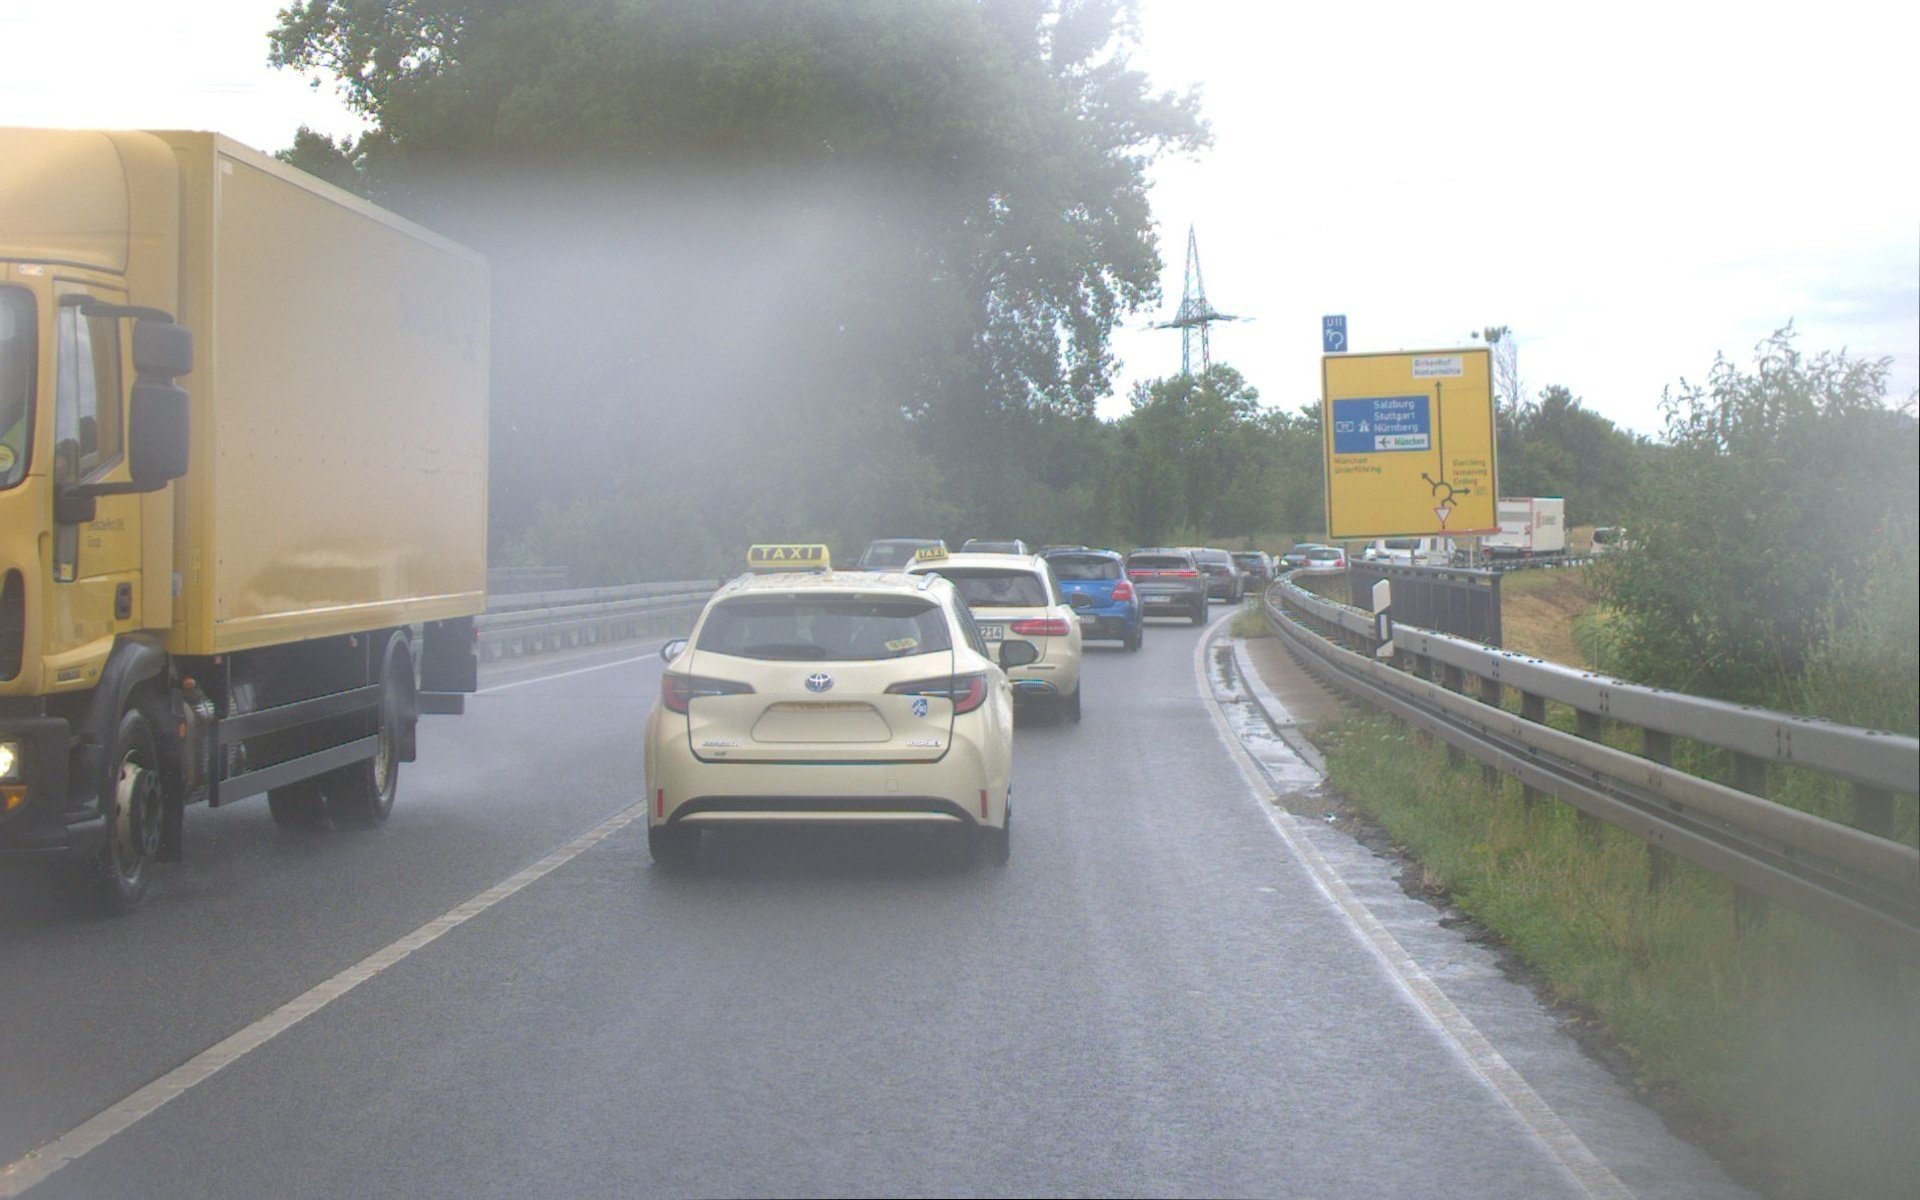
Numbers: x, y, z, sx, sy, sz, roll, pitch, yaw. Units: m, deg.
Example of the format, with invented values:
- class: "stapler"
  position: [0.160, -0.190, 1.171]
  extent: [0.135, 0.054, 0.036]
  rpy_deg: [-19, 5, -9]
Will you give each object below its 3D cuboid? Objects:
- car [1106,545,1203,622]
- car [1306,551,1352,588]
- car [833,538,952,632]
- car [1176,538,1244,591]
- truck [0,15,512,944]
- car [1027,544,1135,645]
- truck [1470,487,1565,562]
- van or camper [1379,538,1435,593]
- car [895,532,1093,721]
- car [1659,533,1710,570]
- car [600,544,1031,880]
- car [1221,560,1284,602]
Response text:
- class: "car"
  position: [3.836, -0.335, 67.433]
  extent: [1.665, 1.459, 3.476]
  rpy_deg: [0, 1, 7]
- class: "car"
  position: [13.432, -1.119, 125.050]
  extent: [1.483, 1.304, 3.475]
  rpy_deg: [0, 1, 9]
- class: "car"
  position: [-1.225, -0.314, 64.226]
  extent: [1.746, 1.648, 4.524]
  rpy_deg: [0, 1, 5]
- class: "car"
  position: [6.877, -0.951, 94.246]
  extent: [1.661, 1.404, 3.903]
  rpy_deg: [0, 0, 7]
- class: "truck"
  position: [-4.399, -0.545, 17.310]
  extent: [2.771, 3.417, 9.187]
  rpy_deg: [1, 1, 2]
- class: "car"
  position: [1.817, -0.097, 50.976]
  extent: [1.506, 1.432, 3.355]
  rpy_deg: [1, 1, 3]
- class: "truck"
  position: [27.477, -3.688, 169.300]
  extent: [3.143, 3.550, 7.513]
  rpy_deg: [1, 0, 21]
- class: "van or camper"
  position: [18.714, -1.438, 143.910]
  extent: [1.994, 2.246, 3.998]
  rpy_deg: [1, 0, 12]
- class: "car"
  position: [0.351, 0.196, 30.496]
  extent: [1.578, 1.567, 3.681]
  rpy_deg: [0, 1, 3]
- class: "car"
  position: [43.116, -2.875, 204.484]
  extent: [1.996, 2.007, 3.994]
  rpy_deg: [-3, -2, 26]
- class: "car"
  position: [-0.623, 0.491, 17.880]
  extent: [1.906, 1.532, 4.161]
  rpy_deg: [0, 1, 2]
- class: "car"
  position: [9.162, -0.606, 107.580]
  extent: [1.483, 1.304, 3.475]
  rpy_deg: [0, 1, 13]
